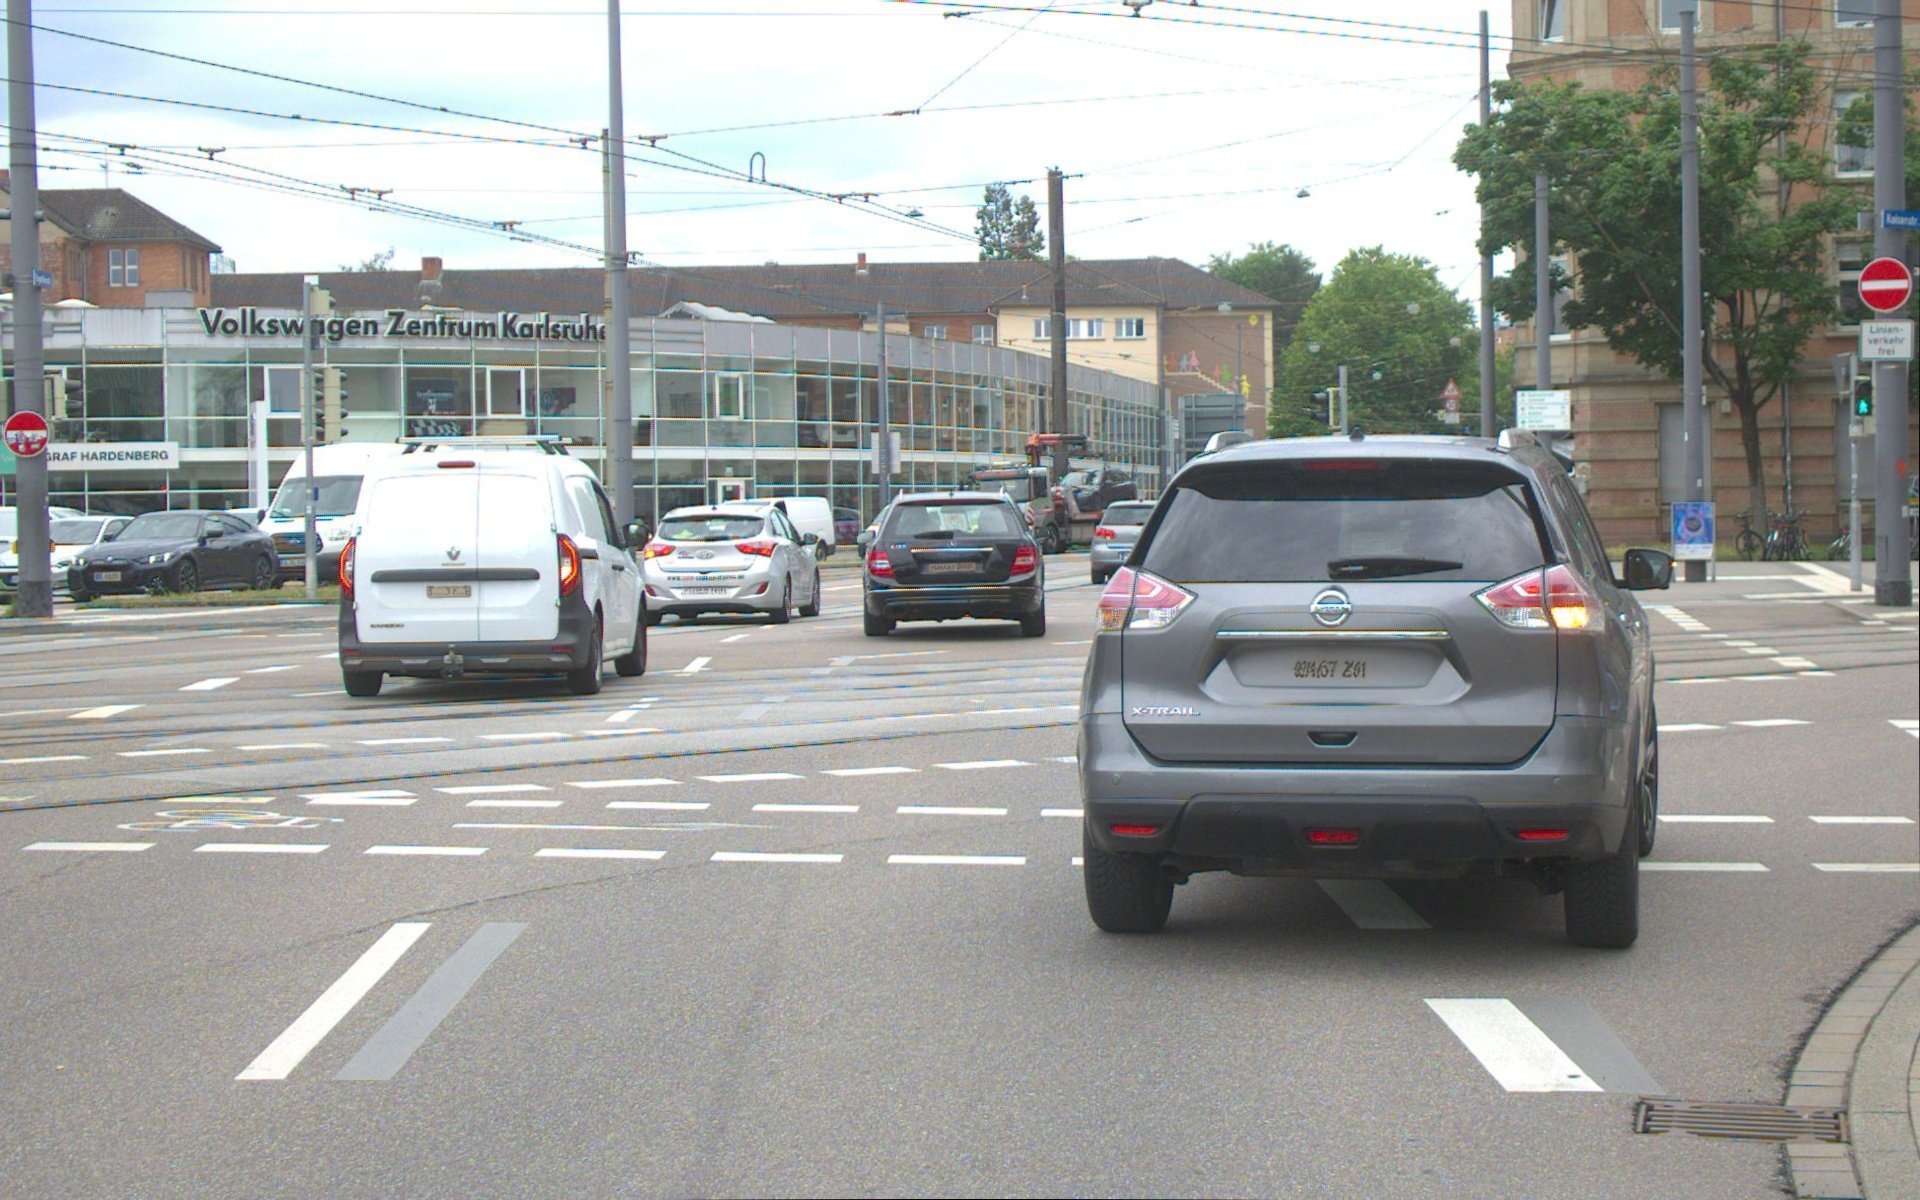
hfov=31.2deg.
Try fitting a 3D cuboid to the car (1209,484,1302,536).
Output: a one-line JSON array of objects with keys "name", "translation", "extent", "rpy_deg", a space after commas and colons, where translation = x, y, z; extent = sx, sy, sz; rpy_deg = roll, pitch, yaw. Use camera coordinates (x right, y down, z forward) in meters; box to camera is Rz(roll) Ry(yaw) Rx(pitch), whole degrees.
[{"name": "car", "translation": [10.674, -3.271, 124.045], "extent": [1.996, 1.832, 4.517], "rpy_deg": [0, 2, 24]}]

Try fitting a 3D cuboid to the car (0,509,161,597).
[{"name": "car", "translation": [-15.019, -0.808, 57.876], "extent": [1.636, 1.415, 3.736], "rpy_deg": [0, 2, 12]}]

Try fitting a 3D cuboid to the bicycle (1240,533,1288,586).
[{"name": "bicycle", "translation": [4.737, -0.635, 53.629], "extent": [0.619, 0.791, 1.592], "rpy_deg": [-1, 1, 0]}]

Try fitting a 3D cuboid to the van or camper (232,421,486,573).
[{"name": "van or camper", "translation": [-10.792, -1.836, 62.272], "extent": [2.416, 2.602, 6.049], "rpy_deg": [1, 1, 12]}]

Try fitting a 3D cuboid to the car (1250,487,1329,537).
[{"name": "car", "translation": [12.546, -3.346, 130.601], "extent": [1.995, 1.832, 4.519], "rpy_deg": [0, 2, 19]}]

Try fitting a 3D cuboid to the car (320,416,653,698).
[{"name": "car", "translation": [-3.455, -0.355, 25.820], "extent": [1.912, 1.933, 4.131], "rpy_deg": [0, 2, 0]}]

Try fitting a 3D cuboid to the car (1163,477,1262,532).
[{"name": "car", "translation": [8.717, -3.281, 118.214], "extent": [1.996, 1.832, 4.517], "rpy_deg": [0, 2, 24]}]

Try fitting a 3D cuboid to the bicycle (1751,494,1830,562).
[{"name": "bicycle", "translation": [17.016, -1.474, 70.371], "extent": [0.959, 1.349, 3.116], "rpy_deg": [1, 1, 25]}]

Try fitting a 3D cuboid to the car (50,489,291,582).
[{"name": "car", "translation": [-12.532, -1.059, 54.890], "extent": [1.994, 1.415, 4.660], "rpy_deg": [0, 2, 12]}]

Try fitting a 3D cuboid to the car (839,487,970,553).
[{"name": "car", "translation": [-1.549, -2.301, 97.906], "extent": [1.996, 1.832, 4.517], "rpy_deg": [0, 2, 24]}]

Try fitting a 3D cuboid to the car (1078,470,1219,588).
[{"name": "car", "translation": [3.361, -1.257, 60.695], "extent": [1.994, 2.007, 3.998], "rpy_deg": [1, 1, 10]}]

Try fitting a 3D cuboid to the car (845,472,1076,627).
[{"name": "car", "translation": [0.067, -0.523, 33.918], "extent": [1.994, 1.415, 4.000], "rpy_deg": [0, 2, 4]}]

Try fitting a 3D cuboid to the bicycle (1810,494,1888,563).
[{"name": "bicycle", "translation": [18.113, -1.454, 69.982], "extent": [0.959, 1.349, 3.116], "rpy_deg": [1, 1, 25]}]

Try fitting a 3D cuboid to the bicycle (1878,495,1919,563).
[{"name": "bicycle", "translation": [19.355, -1.431, 69.562], "extent": [0.959, 1.349, 3.116], "rpy_deg": [1, 1, 25]}]

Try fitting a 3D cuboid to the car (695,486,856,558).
[{"name": "car", "translation": [-4.810, -2.068, 90.390], "extent": [2.159, 1.850, 5.442], "rpy_deg": [0, 2, 21]}]

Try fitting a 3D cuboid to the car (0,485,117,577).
[{"name": "car", "translation": [-21.556, -1.559, 76.969], "extent": [4.768, 2.007, 2.120], "rpy_deg": [1, 1, 12]}]

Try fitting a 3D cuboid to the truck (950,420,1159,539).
[{"name": "truck", "translation": [3.060, -3.697, 107.303], "extent": [2.798, 3.537, 9.210], "rpy_deg": [1, 1, 27]}]

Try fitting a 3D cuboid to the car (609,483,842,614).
[{"name": "car", "translation": [-2.801, -0.645, 41.942], "extent": [1.854, 1.503, 3.998], "rpy_deg": [1, 1, 11]}]

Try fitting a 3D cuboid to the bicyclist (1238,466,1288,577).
[{"name": "bicyclist", "translation": [4.722, -1.225, 53.612], "extent": [0.687, 1.702, 0.798], "rpy_deg": [-1, 1, 0]}]

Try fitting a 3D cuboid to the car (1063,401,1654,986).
[{"name": "car", "translation": [1.587, 0.225, 12.372], "extent": [1.750, 1.750, 3.922], "rpy_deg": [0, 2, 12]}]
